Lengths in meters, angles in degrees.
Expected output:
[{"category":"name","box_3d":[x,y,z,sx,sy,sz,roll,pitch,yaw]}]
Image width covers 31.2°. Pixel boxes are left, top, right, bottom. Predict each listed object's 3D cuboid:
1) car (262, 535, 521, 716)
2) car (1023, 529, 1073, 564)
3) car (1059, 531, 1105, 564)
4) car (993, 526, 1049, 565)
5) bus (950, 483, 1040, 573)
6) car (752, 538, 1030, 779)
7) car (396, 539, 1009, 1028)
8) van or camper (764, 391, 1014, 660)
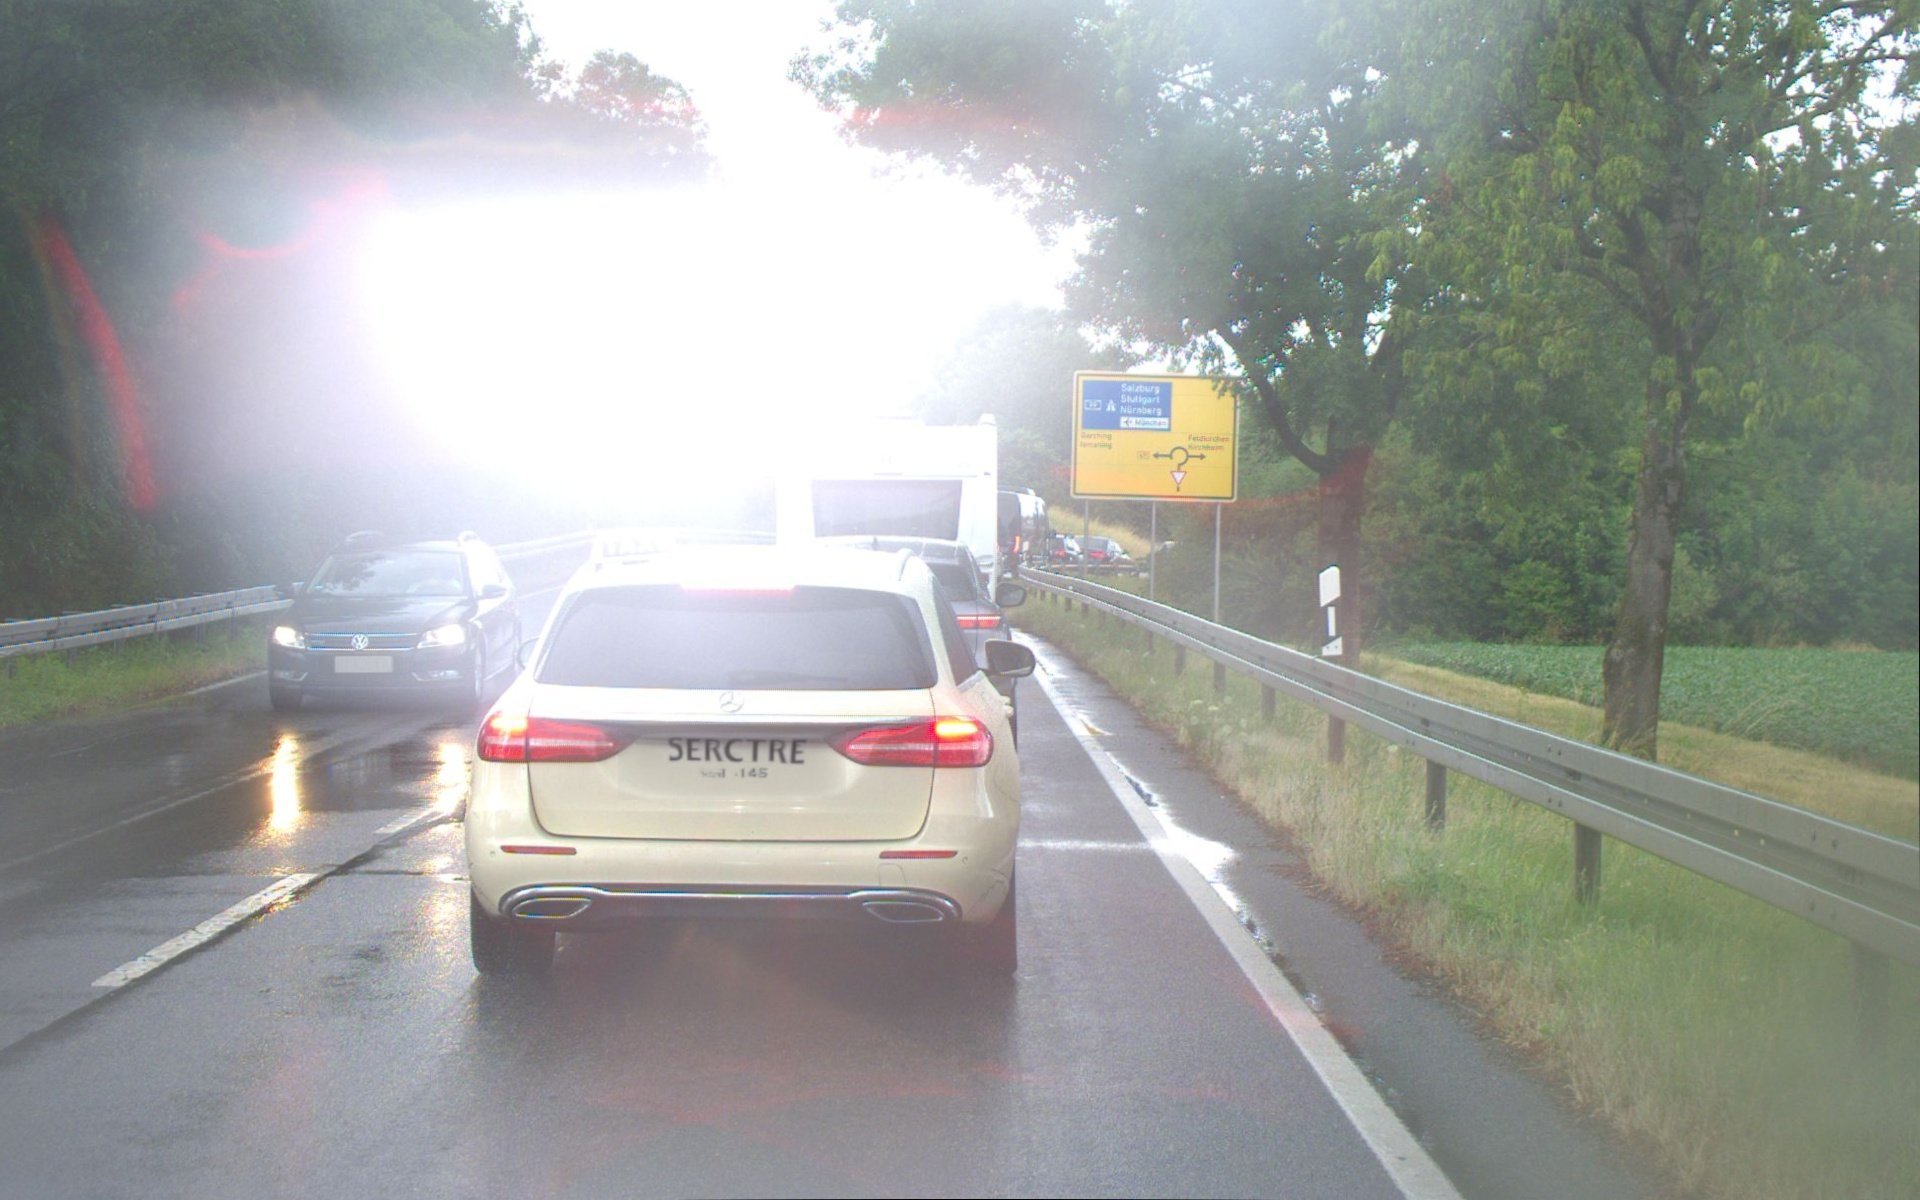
[{"category":"car","box_3d":[-4.885,0.172,29.976,1.628,1.433,3.960,1,1,-1]},{"category":"car","box_3d":[2.867,-1.752,112.651,1.551,1.114,4.000,0,1,1]},{"category":"car","box_3d":[4.224,-1.835,119.431,1.552,1.114,4.000,0,1,2]},{"category":"car","box_3d":[1.804,-1.629,103.152,1.551,1.114,4.000,0,1,-1]},{"category":"bus","box_3d":[0.786,-1.662,79.349,1.993,2.007,4.000,0,1,-1]},{"category":"car","box_3d":[-0.383,0.312,22.575,1.664,1.426,4.000,0,1,1]},{"category":"car","box_3d":[-0.756,0.523,12.471,1.865,1.471,4.000,0,1,1]},{"category":"van or camper","box_3d":[-0.676,-0.814,37.485,2.489,2.676,5.700,1,1,1]}]
